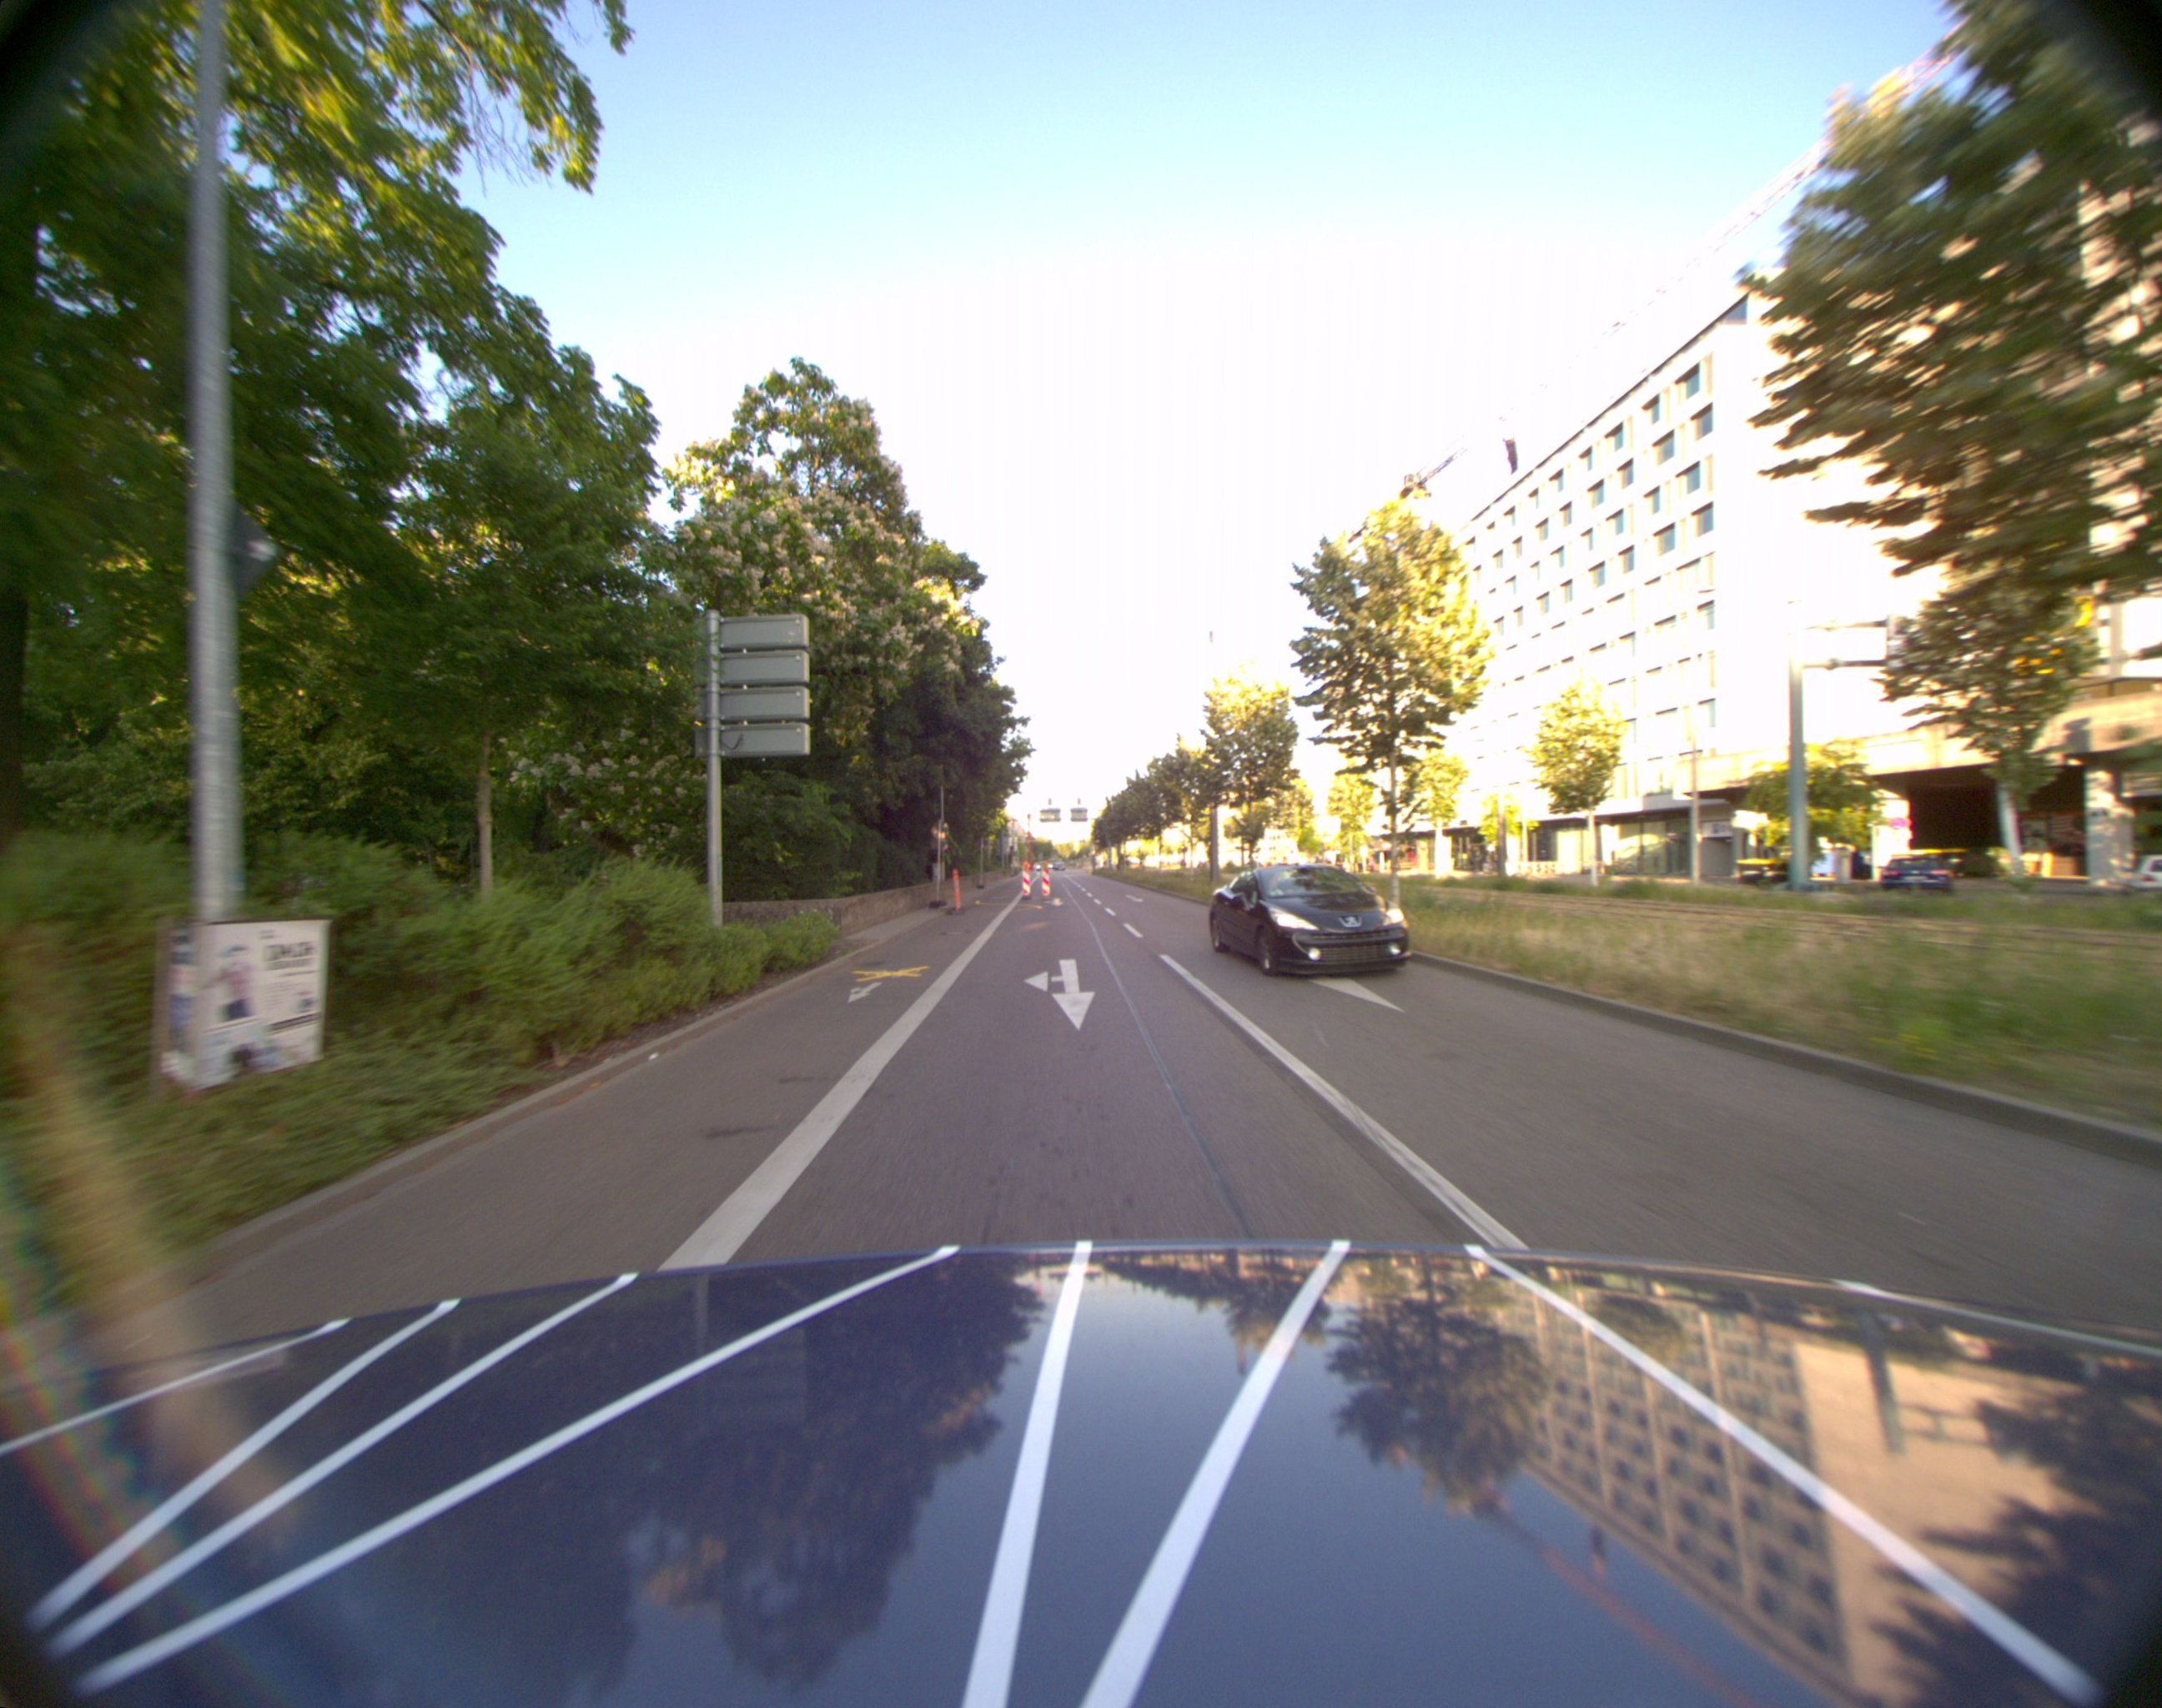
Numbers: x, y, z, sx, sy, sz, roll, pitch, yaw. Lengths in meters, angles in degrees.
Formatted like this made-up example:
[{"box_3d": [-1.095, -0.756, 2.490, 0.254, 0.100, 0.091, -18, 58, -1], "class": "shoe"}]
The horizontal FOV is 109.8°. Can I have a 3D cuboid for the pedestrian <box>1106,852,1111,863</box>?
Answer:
[{"box_3d": [3.652, 0.491, 100.827, 0.579, 1.495, 0.619, 3, 1, 9], "class": "pedestrian"}]

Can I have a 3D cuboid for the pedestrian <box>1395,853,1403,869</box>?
[{"box_3d": [32.159, 0.729, 76.875, 0.498, 1.590, 0.603, -3, 0, -1], "class": "pedestrian"}]

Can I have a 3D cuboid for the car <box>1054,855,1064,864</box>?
[{"box_3d": [-3.982, 1.078, 138.479, 1.702, 1.588, 4.260, -2, 0, -1], "class": "car"}]

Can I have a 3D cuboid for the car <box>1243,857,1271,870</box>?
[{"box_3d": [20.348, 1.133, 88.112, 2.020, 1.432, 4.800, 1, -1, -2], "class": "car"}]

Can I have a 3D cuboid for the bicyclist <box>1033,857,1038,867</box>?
[{"box_3d": [-8.228, 1.432, 137.656, 0.705, 1.691, 0.768, -2, 2, 2], "class": "bicyclist"}]

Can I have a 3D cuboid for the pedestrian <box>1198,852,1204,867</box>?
[{"box_3d": [15.674, 0.722, 99.516, 0.680, 1.912, 0.708, -1, 0, 0], "class": "pedestrian"}]

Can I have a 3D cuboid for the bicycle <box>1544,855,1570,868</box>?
[{"box_3d": [36.388, 0.579, 58.085, 1.793, 1.014, 0.421, -1, 0, -6], "class": "bicycle"}]

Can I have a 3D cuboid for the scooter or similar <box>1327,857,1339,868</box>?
[{"box_3d": [28.557, 0.964, 86.118, 1.185, 1.210, 0.338, -1, 0, -1], "class": "scooter or similar"}]

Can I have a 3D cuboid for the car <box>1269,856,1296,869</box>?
[{"box_3d": [23.322, 1.010, 88.038, 1.890, 1.431, 4.223, -1, 0, -3], "class": "car"}]

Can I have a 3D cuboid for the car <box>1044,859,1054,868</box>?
[{"box_3d": [-5.893, 1.733, 140.371, 1.834, 1.588, 4.260, -2, 0, -1], "class": "car"}]

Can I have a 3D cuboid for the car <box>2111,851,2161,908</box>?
[{"box_3d": [31.534, 0.687, 21.914, 4.139, 1.427, 1.821, -3, 0, -41], "class": "car"}]

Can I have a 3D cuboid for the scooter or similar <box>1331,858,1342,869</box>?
[{"box_3d": [28.354, 1.055, 84.327, 1.185, 1.157, 0.338, -1, 0, -1], "class": "scooter or similar"}]

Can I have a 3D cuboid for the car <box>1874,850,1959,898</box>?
[{"box_3d": [31.027, 0.691, 28.225, 4.294, 1.581, 2.004, -1, 0, -42], "class": "car"}]

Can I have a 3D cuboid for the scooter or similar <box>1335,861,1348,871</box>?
[{"box_3d": [28.407, 1.307, 82.933, 1.185, 1.051, 0.338, -5, -1, -1], "class": "scooter or similar"}]

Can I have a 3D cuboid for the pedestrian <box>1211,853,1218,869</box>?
[{"box_3d": [17.523, 0.942, 99.649, 0.833, 2.002, 0.854, -1, 0, 1], "class": "pedestrian"}]

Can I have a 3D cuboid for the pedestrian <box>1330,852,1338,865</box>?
[{"box_3d": [31.312, 0.526, 94.061, 0.707, 1.594, 0.682, -3, 0, 43], "class": "pedestrian"}]

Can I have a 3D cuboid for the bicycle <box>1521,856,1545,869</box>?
[{"box_3d": [36.176, 0.664, 60.796, 1.747, 1.014, 0.421, -1, 0, -6], "class": "bicycle"}]

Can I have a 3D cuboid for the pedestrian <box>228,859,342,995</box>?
[{"box_3d": [-11.263, 0.994, 10.786, 0.795, 1.821, 0.772, -1, 0, -15], "class": "pedestrian"}]

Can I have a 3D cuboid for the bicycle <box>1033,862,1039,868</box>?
[{"box_3d": [-8.191, 1.972, 137.845, 0.721, 1.045, 2.044, -2, 1, 3], "class": "bicycle"}]

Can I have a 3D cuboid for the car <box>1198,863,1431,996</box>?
[{"box_3d": [2.924, 0.890, 10.440, 1.724, 1.441, 3.900, -1, -1, -4], "class": "car"}]
